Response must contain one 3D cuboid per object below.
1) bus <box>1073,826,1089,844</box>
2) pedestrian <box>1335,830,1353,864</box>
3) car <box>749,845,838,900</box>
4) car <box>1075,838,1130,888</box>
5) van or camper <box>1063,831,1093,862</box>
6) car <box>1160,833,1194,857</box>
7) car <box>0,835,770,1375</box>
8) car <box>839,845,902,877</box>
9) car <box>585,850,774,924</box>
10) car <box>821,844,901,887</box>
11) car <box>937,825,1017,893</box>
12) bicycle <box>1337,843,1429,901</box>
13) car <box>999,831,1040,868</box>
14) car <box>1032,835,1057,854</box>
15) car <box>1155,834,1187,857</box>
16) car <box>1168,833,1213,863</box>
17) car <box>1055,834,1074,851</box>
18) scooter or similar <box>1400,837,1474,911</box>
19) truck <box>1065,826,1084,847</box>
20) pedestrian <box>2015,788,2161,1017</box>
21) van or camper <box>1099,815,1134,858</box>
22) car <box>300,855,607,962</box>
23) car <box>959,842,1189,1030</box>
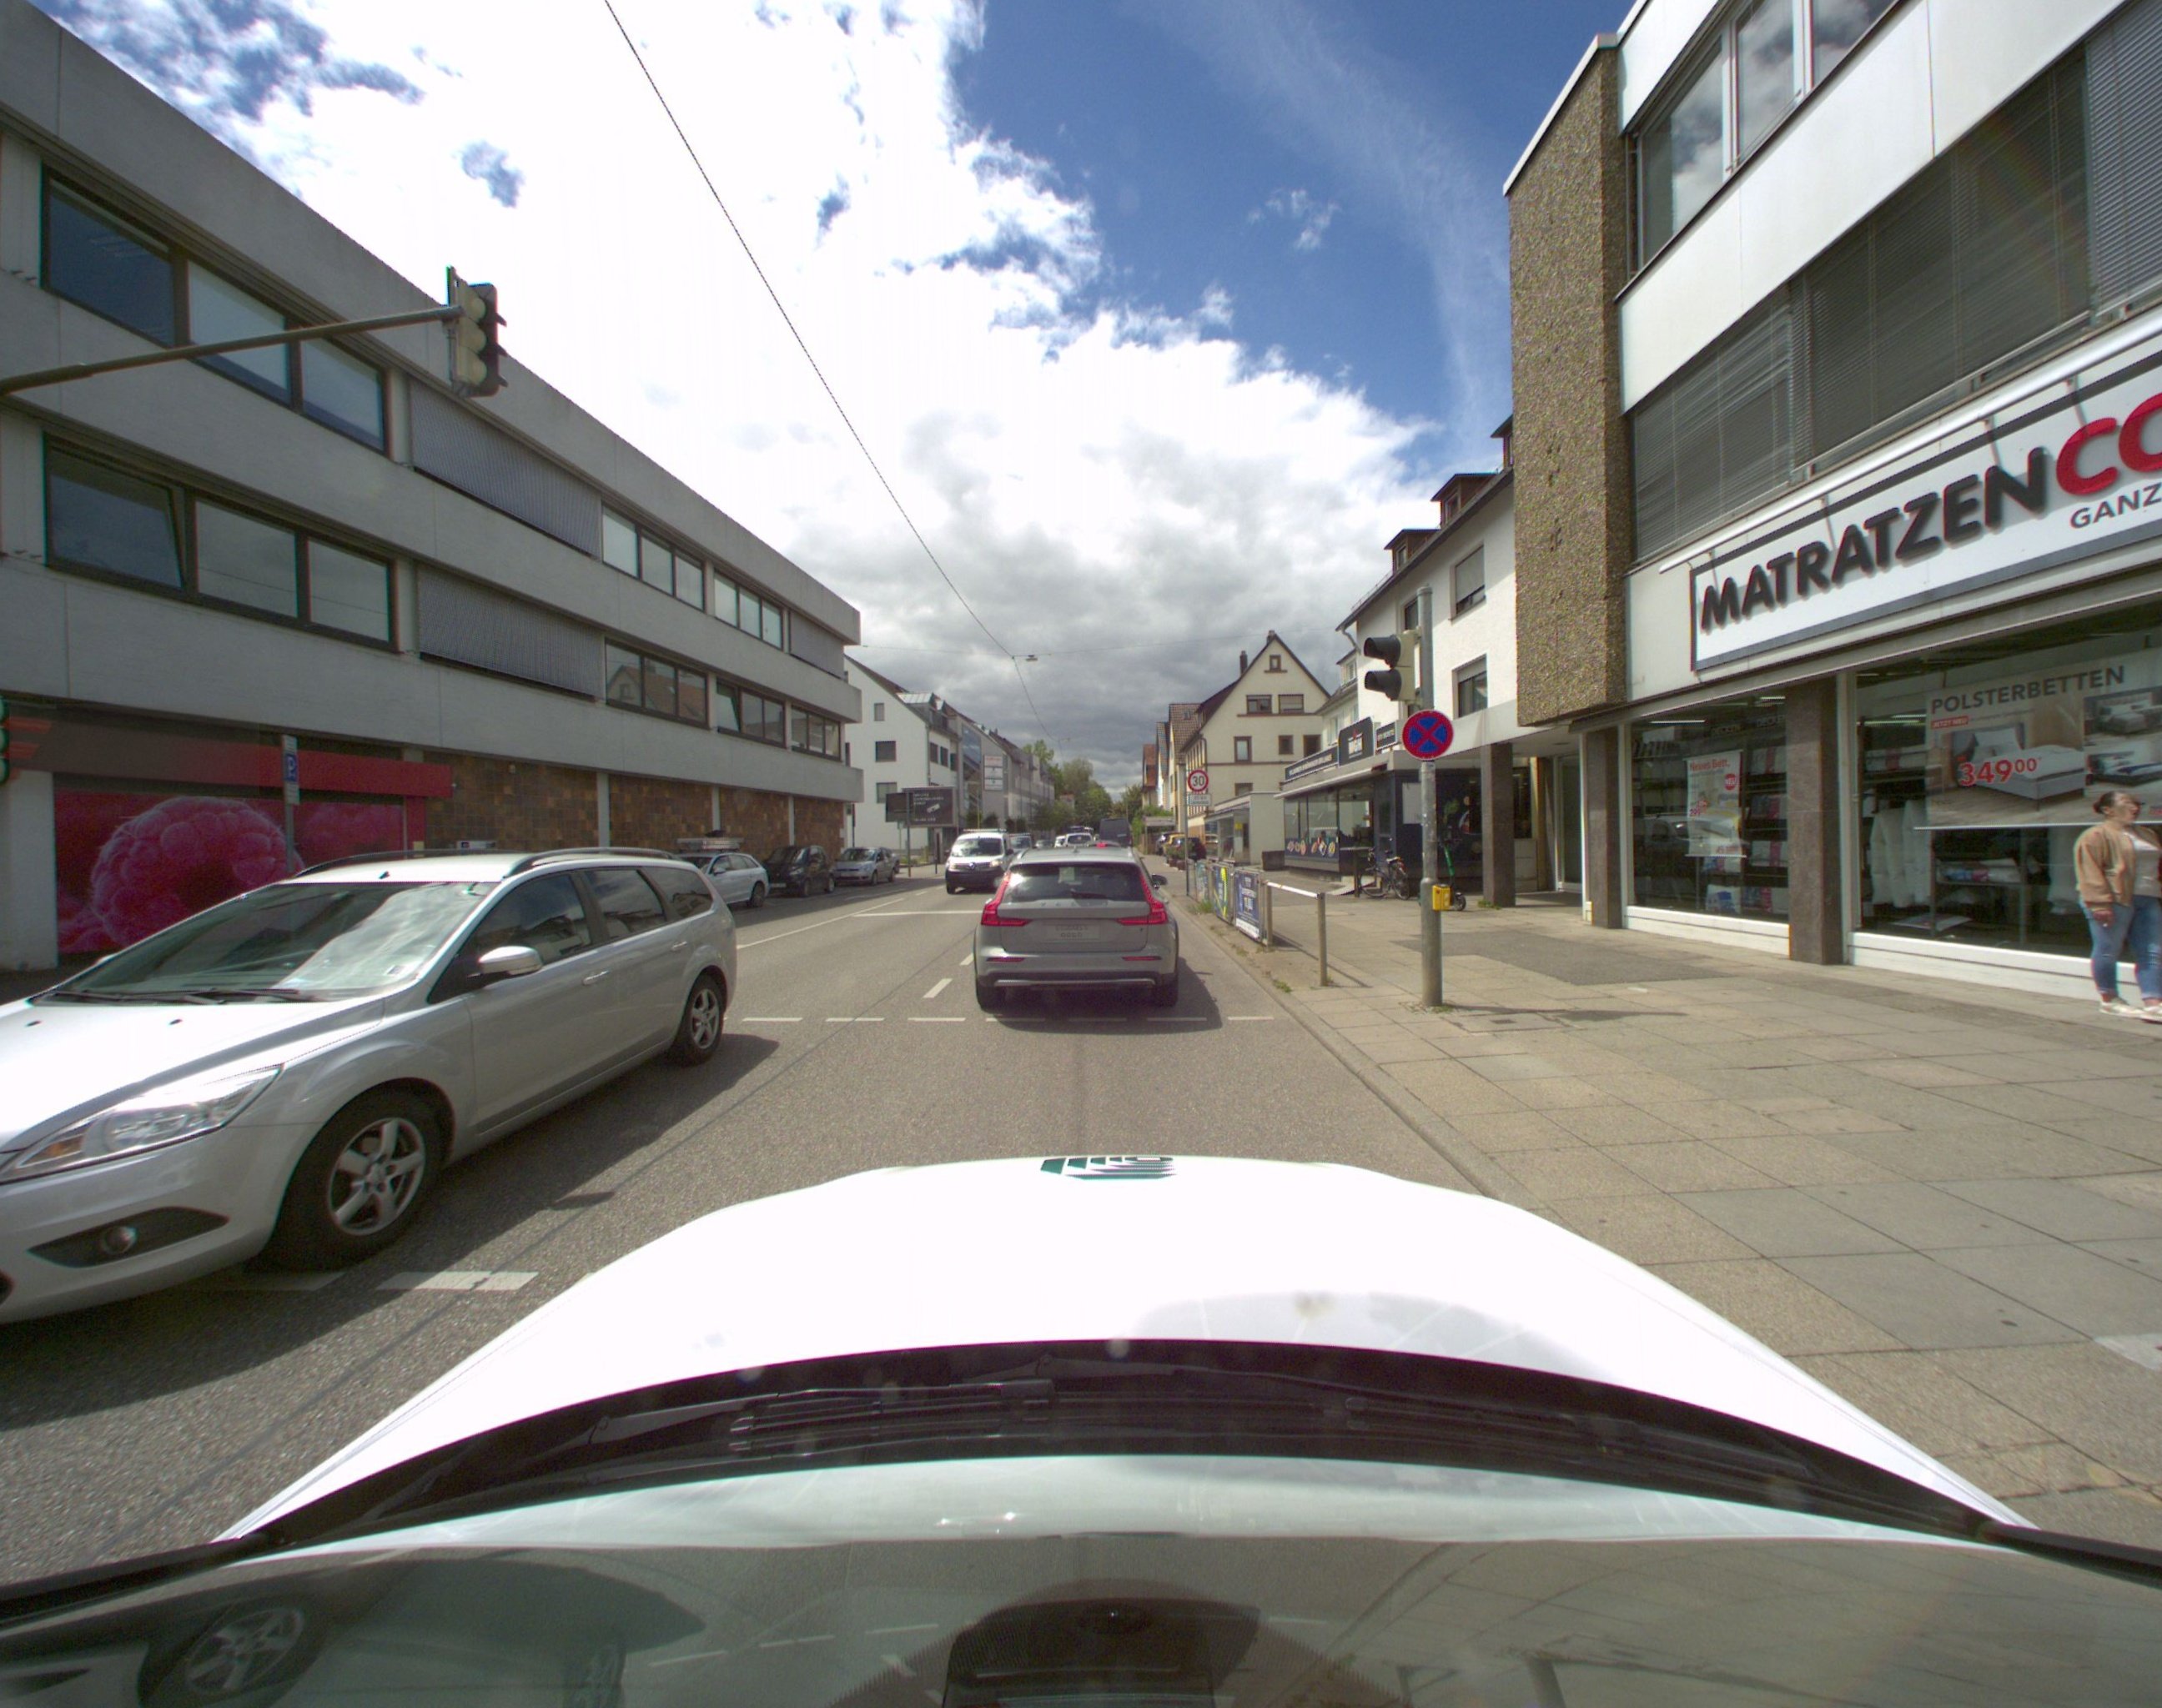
[{"bbox_3d":[0.048,-3.061,132.087,2.267,2.668,7.434,-2,1,2],"label":"bus"},{"bbox_3d":[8.423,-0.233,26.081,0.413,1.052,0.367,-2,1,-1],"label":"pedestrian"},{"bbox_3d":[-8.764,0.520,25.065,1.601,1.543,2.946,0,1,2],"label":"car"},{"bbox_3d":[0.686,0.246,26.420,1.645,1.482,3.608,-1,1,1],"label":"car"},{"bbox_3d":[-0.167,-0.462,53.002,1.813,1.835,4.000,-1,-1,1],"label":"van or camper"},{"bbox_3d":[6.063,-0.538,51.814,1.875,1.415,3.973,-1,0,2],"label":"car"},{"bbox_3d":[-3.415,0.720,4.466,1.662,1.553,4.216,-1,0,1],"label":"car"},{"bbox_3d":[-10.284,0.302,40.117,1.899,1.398,3.844,-2,1,2],"label":"car"},{"bbox_3d":[-9.197,0.685,19.171,1.895,1.443,4.450,0,1,5],"label":"car"},{"bbox_3d":[-8.394,0.402,31.414,1.748,1.426,3.866,-2,1,4],"label":"car"},{"bbox_3d":[-3.090,0.116,25.059,1.832,1.917,4.156,-1,1,1],"label":"car"},{"bbox_3d":[6.444,0.356,17.524,0.556,1.144,2.287,-3,1,-16],"label":"bicycle"},{"bbox_3d":[-3.434,-0.283,46.196,1.832,1.917,4.532,-2,1,1],"label":"car"},{"bbox_3d":[-3.027,-0.825,67.615,1.756,1.426,4.001,-2,1,1],"label":"car"},{"bbox_3d":[6.192,-0.559,56.154,1.875,1.500,3.973,-1,0,2],"label":"car"},{"bbox_3d":[5.664,-0.290,42.522,1.705,1.464,3.998,-1,0,-1],"label":"car"},{"bbox_3d":[-1.767,-1.265,87.880,1.791,1.815,4.003,-2,1,2],"label":"car"},{"bbox_3d":[6.345,0.355,14.555,0.342,1.253,1.235,-4,0,-25],"label":"scooter or similar"},{"bbox_3d":[-0.847,-2.491,115.471,2.267,2.886,7.083,-2,1,2],"label":"truck"},{"bbox_3d":[6.873,0.311,5.485,0.500,1.459,0.502,-4,0,14],"label":"pedestrian"},{"bbox_3d":[2.333,-1.149,54.275,2.115,2.686,4.784,-2,1,2],"label":"van or camper"},{"bbox_3d":[-10.240,0.778,13.776,1.776,1.464,4.093,0,1,5],"label":"car"},{"bbox_3d":[-0.025,0.634,8.606,1.829,1.486,4.001,-1,1,1],"label":"car"}]
